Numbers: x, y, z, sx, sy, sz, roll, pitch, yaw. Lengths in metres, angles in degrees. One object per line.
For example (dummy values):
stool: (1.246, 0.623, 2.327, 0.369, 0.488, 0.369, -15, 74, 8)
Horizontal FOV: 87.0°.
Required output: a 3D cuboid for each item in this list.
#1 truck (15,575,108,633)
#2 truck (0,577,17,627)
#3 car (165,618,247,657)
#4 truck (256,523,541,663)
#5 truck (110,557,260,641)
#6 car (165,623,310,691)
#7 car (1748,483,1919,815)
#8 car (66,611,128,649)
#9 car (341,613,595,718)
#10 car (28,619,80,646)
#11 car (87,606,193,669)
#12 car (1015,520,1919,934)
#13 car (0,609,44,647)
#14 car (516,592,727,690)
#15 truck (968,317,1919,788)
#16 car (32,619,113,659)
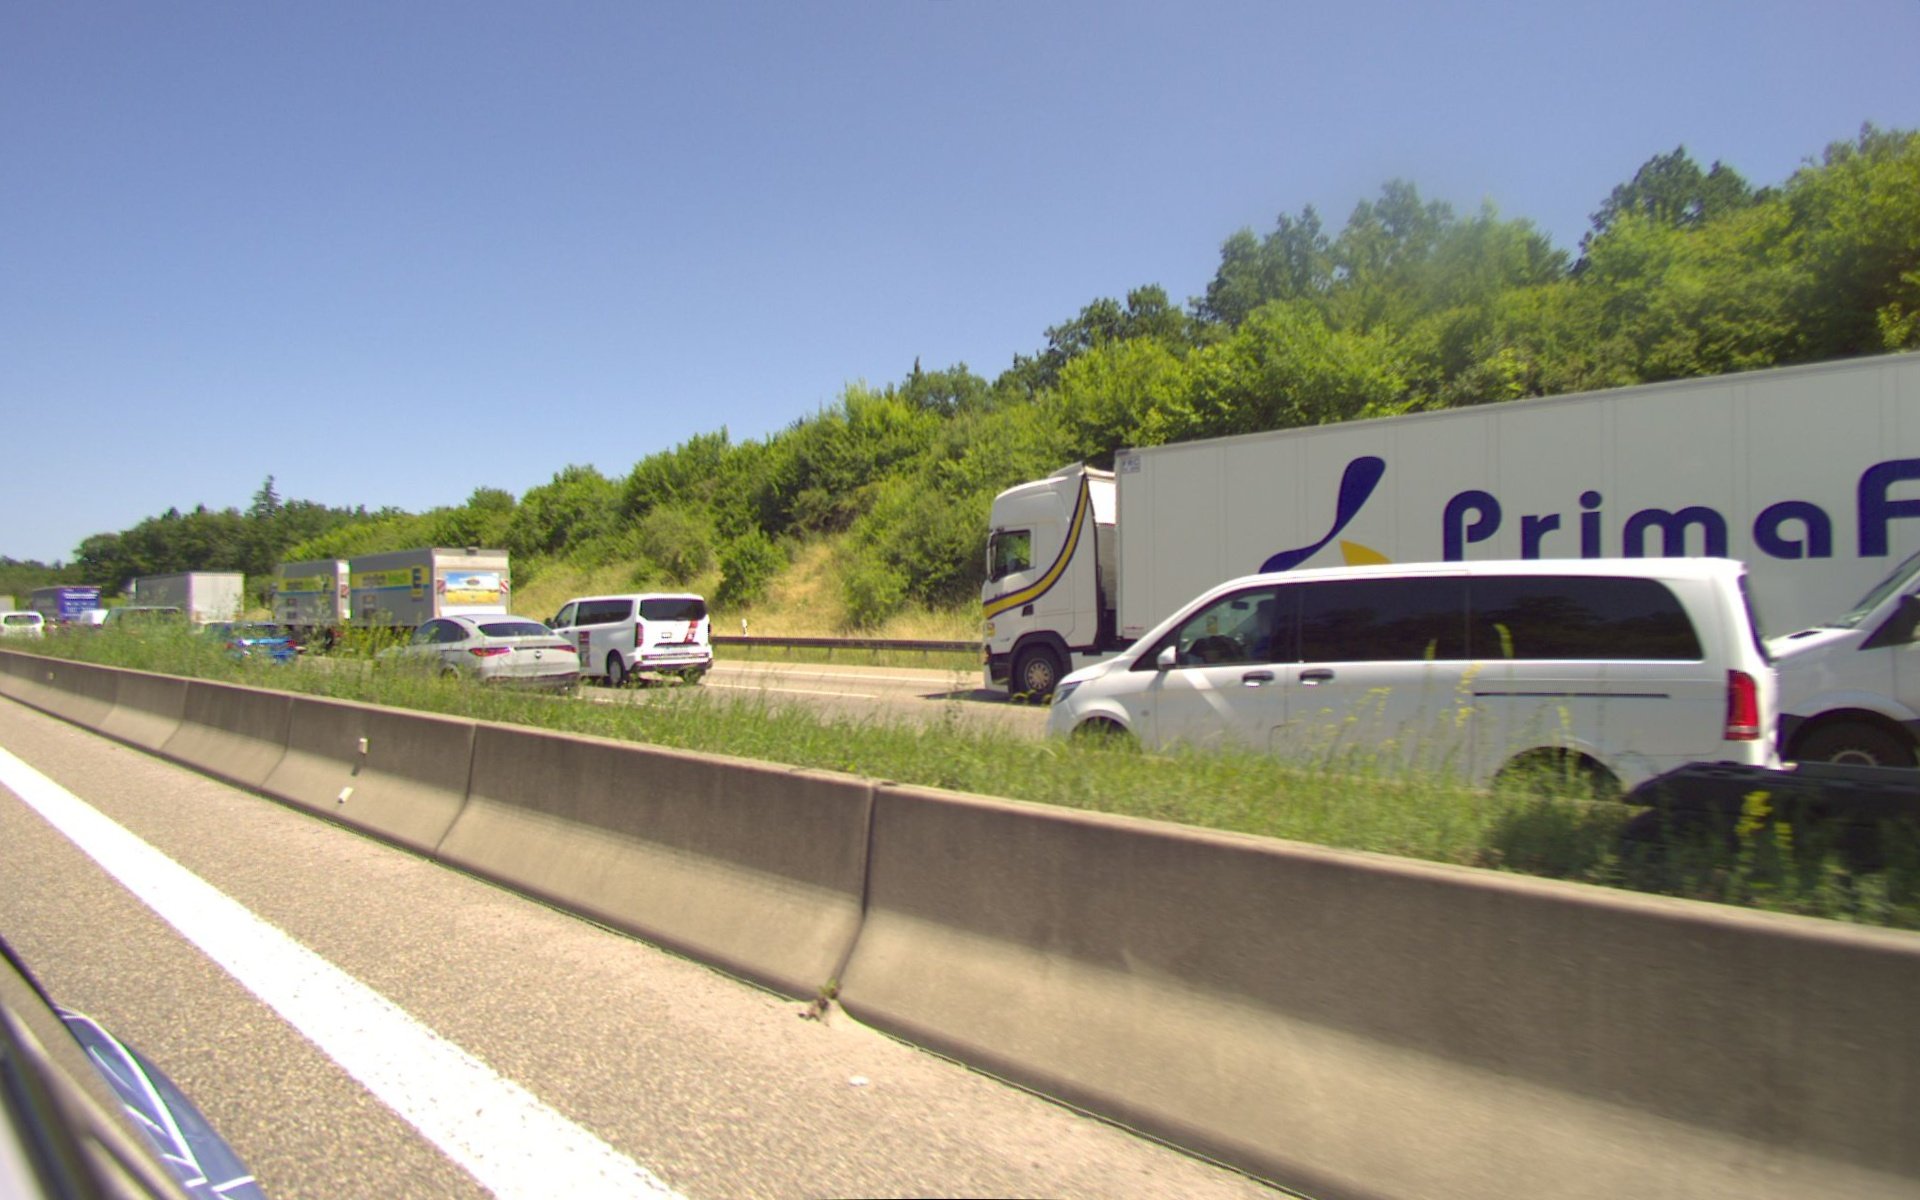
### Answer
truck: (-76.724, 0.389, 86.170, 19.444, 4.490, 3.658, 0, 0, 42)
truck: (-113.998, 0.229, 118.309, 19.444, 5.543, 3.658, 0, 0, 42)
car: (-31.042, 1.502, 41.635, 4.031, 1.481, 1.814, 0, 0, 39)
truck: (-22.980, -0.183, 40.132, 19.444, 4.490, 3.658, 0, 0, 42)
truck: (-47.767, 0.011, 61.903, 19.444, 4.490, 3.658, 0, 0, 42)
car: (-18.444, 1.368, 25.756, 4.968, 1.489, 1.808, 0, 0, 40)
car: (9.376, 0.336, 6.655, 6.537, 2.402, 2.162, 0, 0, 41)
car: (-48.302, 1.640, 56.605, 4.754, 2.039, 1.872, 0, 0, 39)
car: (-8.458, 0.980, 17.127, 5.394, 1.489, 1.808, 0, 0, 40)
car: (-60.484, 2.160, 67.524, 4.754, 1.691, 1.872, 0, 0, 39)
car: (-27.216, 1.173, 33.542, 4.968, 1.930, 1.808, 0, 0, 40)
car: (3.186, 0.621, 7.314, 5.662, 1.992, 1.807, 0, 0, 41)
car: (-49.806, 1.439, 53.129, 5.017, 1.858, 1.960, 0, 0, 41)
car: (-7.863, 0.836, 23.111, 5.888, 1.955, 2.159, 0, 0, 45)
truck: (7.854, -0.446, 13.274, 17.374, 4.490, 3.658, 0, 0, 42)
car: (-36.649, 1.557, 41.738, 4.656, 1.491, 1.808, 0, 0, 40)
